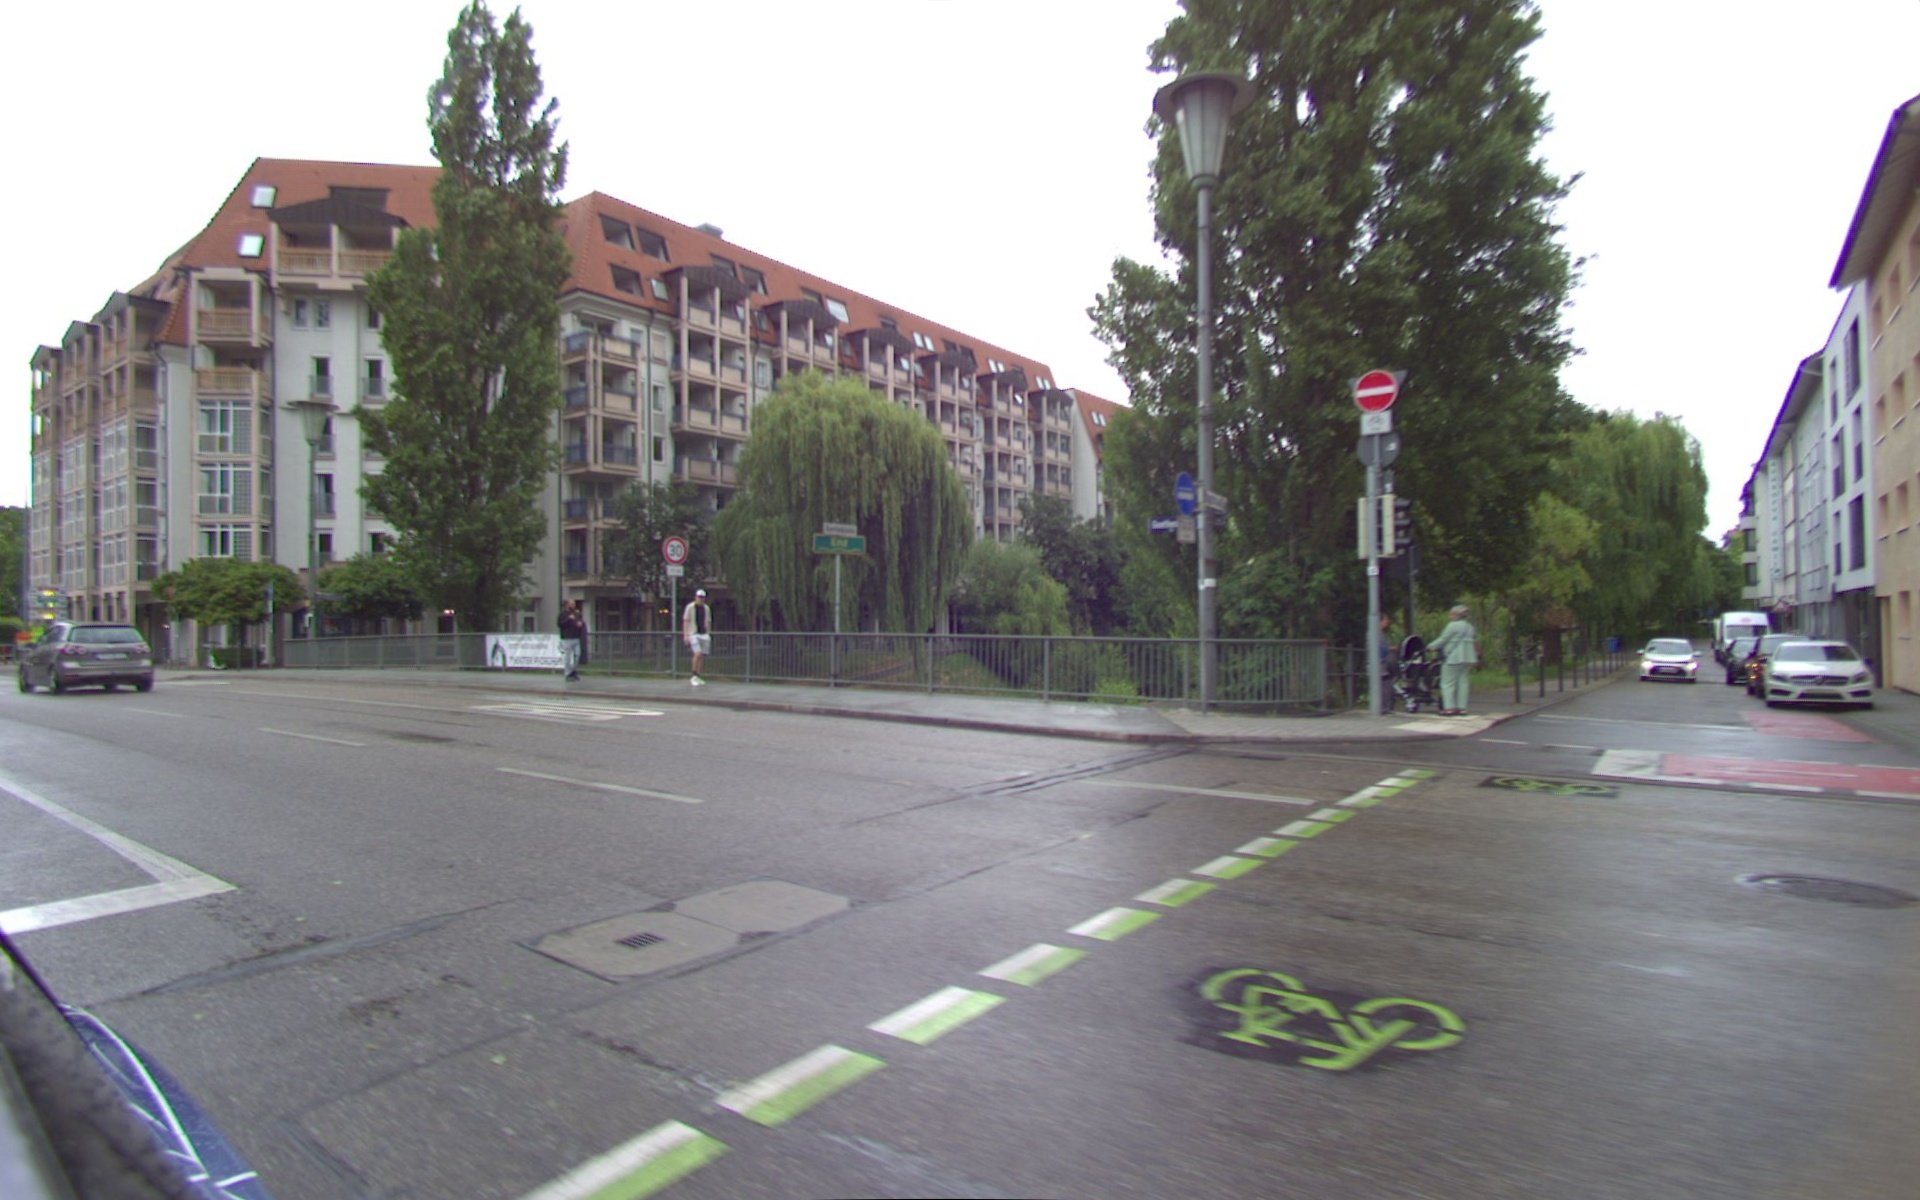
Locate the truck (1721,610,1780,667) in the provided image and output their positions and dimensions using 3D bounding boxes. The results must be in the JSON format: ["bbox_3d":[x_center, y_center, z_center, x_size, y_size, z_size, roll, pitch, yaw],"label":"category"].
[{"bbox_3d":[39.861,1.890,51.113,2.102,2.648,4.602,-2,-1,36],"label":"truck"}]

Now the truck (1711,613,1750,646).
[{"bbox_3d":[50.783,1.927,66.707,1.896,2.001,5.314,-2,-1,38],"label":"truck"}]

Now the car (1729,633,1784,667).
[{"bbox_3d":[36.784,2.285,46.825,1.896,1.398,3.949,-2,-1,38],"label":"car"}]

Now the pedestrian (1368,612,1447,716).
[{"bbox_3d":[6.454,0.906,14.615,0.643,1.456,0.802,2,-1,-20],"label":"pedestrian"}]

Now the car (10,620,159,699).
[{"bbox_3d":[-19.627,1.317,22.651,3.912,1.614,1.720,-2,-3,37],"label":"car"}]

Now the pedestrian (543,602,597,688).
[{"bbox_3d":[-8.441,0.959,21.896,0.957,1.807,0.691,-2,-1,39],"label":"pedestrian"}]

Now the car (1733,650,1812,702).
[{"bbox_3d":[26.798,2.457,33.470,1.896,1.398,3.949,-2,-1,38],"label":"car"}]

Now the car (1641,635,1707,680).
[{"bbox_3d":[25.292,1.993,35.818,1.720,1.398,3.949,-2,-1,38],"label":"car"}]

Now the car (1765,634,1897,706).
[{"bbox_3d":[18.728,1.454,21.930,1.896,1.398,3.949,-2,-3,38],"label":"car"}]

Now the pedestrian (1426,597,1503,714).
[{"bbox_3d":[7.408,0.805,14.866,0.786,1.676,0.623,2,-1,-18],"label":"pedestrian"}]

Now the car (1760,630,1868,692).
[{"bbox_3d":[22.031,1.527,26.239,1.896,1.398,3.949,-2,-1,38],"label":"car"}]

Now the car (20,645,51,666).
[{"bbox_3d":[-72.207,4.301,79.061,3.601,1.550,1.577,-3,-2,44],"label":"car"}]

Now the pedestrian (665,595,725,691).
[{"bbox_3d":[-5.179,0.822,19.788,0.811,1.807,0.789,-2,-1,39],"label":"pedestrian"}]

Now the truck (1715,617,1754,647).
[{"bbox_3d":[43.408,1.771,56.795,1.597,1.522,3.556,-2,-1,36],"label":"truck"}]

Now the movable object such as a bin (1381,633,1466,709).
[{"bbox_3d":[7.130,1.080,15.594,0.786,1.120,0.886,2,-1,-19],"label":"movable object such as a bin"}]
